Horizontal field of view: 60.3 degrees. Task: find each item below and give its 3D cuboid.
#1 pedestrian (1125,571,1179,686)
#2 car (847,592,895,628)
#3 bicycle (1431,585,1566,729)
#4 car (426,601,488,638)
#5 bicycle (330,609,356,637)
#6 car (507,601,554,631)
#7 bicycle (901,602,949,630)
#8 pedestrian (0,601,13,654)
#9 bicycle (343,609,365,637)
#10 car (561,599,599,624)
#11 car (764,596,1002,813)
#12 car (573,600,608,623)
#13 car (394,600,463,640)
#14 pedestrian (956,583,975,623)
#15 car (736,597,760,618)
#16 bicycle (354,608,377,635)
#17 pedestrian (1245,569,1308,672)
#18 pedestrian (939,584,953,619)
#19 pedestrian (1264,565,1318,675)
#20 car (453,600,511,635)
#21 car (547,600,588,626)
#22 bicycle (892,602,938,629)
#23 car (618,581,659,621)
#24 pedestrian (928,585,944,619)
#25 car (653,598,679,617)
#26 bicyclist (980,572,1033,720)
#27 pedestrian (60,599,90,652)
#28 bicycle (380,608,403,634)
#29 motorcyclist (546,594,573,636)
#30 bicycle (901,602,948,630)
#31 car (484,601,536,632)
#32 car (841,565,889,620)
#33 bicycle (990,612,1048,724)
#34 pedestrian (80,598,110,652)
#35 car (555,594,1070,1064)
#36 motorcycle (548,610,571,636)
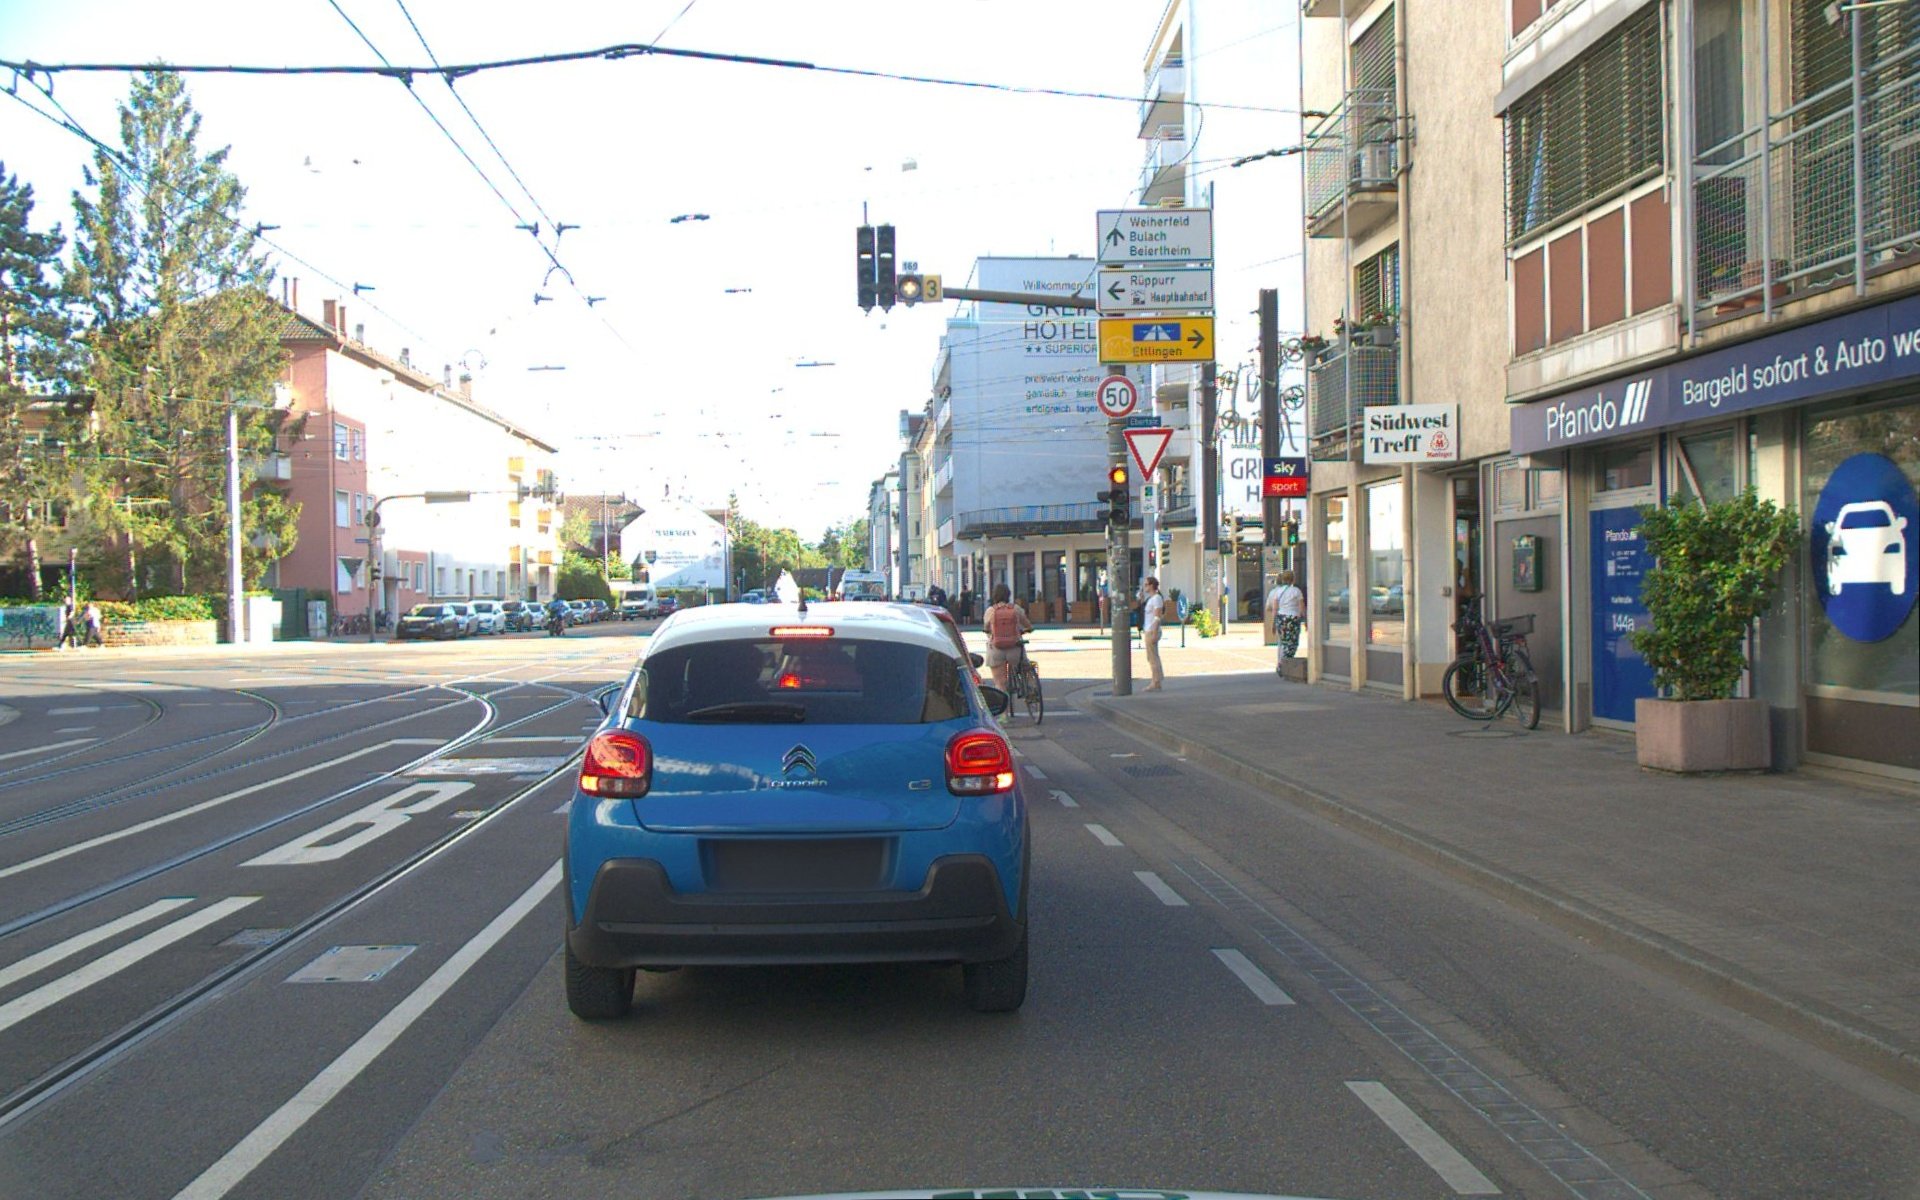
[{"bbox_3d":[2.827,0.410,24.409,0.735,1.663,0.740,-1,0,5],"label":"pedestrian"},{"bbox_3d":[-3.676,0.373,67.741,1.752,1.383,3.909,-1,0,-6],"label":"car"},{"bbox_3d":[5.115,0.503,15.821,0.627,1.286,1.910,-1,0,-1],"label":"bicycle"},{"bbox_3d":[-22.553,0.872,74.257,1.913,1.545,4.040,-1,0,-6],"label":"car"},{"bbox_3d":[-24.982,0.917,66.992,0.628,1.101,1.905,-1,0,-11],"label":"bicycle"},{"bbox_3d":[-23.764,0.848,91.568,1.913,1.545,3.995,-1,0,-6],"label":"car"},{"bbox_3d":[-1.393,0.629,65.781,1.868,1.083,0.641,-1,0,-8],"label":"bicycle"},{"bbox_3d":[-31.946,0.924,54.825,0.795,1.732,0.677,-1,0,-17],"label":"pedestrian"},{"bbox_3d":[-24.588,0.927,67.117,0.527,1.101,1.905,-1,0,-11],"label":"bicycle"},{"bbox_3d":[-24.851,0.738,108.264,1.913,1.545,3.995,-1,0,-6],"label":"car"},{"bbox_3d":[-0.677,0.728,13.560,1.647,1.488,3.997,1,0,-4],"label":"car"},{"bbox_3d":[-25.567,0.776,114.594,1.913,1.545,3.995,-1,0,-6],"label":"car"},{"bbox_3d":[-22.014,0.788,68.652,1.913,1.545,3.995,-1,0,-6],"label":"car"},{"bbox_3d":[0.229,0.134,70.131,0.551,1.676,0.529,-1,0,-45],"label":"pedestrian"},{"bbox_3d":[-21.814,0.780,170.493,2.293,2.074,5.044,-1,0,-6],"label":"car"},{"bbox_3d":[-25.874,0.925,71.988,0.527,1.101,1.908,-1,0,-7],"label":"bicycle"},{"bbox_3d":[5.260,0.327,27.508,0.694,1.676,0.730,-1,0,-36],"label":"pedestrian"},{"bbox_3d":[-0.585,0.072,69.994,0.459,1.445,0.525,-1,0,-13],"label":"pedestrian"},{"bbox_3d":[5.173,0.306,25.826,0.722,1.676,0.754,-1,0,18],"label":"pedestrian"},{"bbox_3d":[-22.756,0.815,78.862,1.913,1.545,3.995,-1,0,-6],"label":"car"},{"bbox_3d":[-24.409,0.797,102.990,1.913,1.545,3.995,-1,0,-6],"label":"car"},{"bbox_3d":[-1.860,0.631,68.272,1.868,1.083,0.641,-1,0,-8],"label":"bicycle"},{"bbox_3d":[-23.225,0.053,119.578,2.446,2.759,5.828,-1,0,-7],"label":"car"},{"bbox_3d":[-1.010,0.077,70.239,0.514,1.445,0.547,-1,0,19],"label":"pedestrian"},{"bbox_3d":[-25.576,0.624,144.166,1.913,1.545,3.995,-1,0,-6],"label":"car"},{"bbox_3d":[0.569,0.551,20.597,0.588,1.776,1.084,-1,0,-1],"label":"bicyclist"},{"bbox_3d":[-29.482,0.836,55.106,0.798,1.732,0.629,-1,0,-25],"label":"pedestrian"},{"bbox_3d":[-25.672,0.938,74.693,0.597,1.101,1.908,-1,0,-7],"label":"bicycle"},{"bbox_3d":[-16.205,0.602,66.953,0.973,1.659,0.737,-1,0,-10],"label":"motorcyclist"},{"bbox_3d":[-1.446,0.653,67.086,1.868,1.083,0.641,-1,0,-8],"label":"bicycle"},{"bbox_3d":[-23.234,0.833,85.519,1.913,1.545,3.995,-1,0,-6],"label":"car"},{"bbox_3d":[-4.231,-0.330,73.179,2.039,2.309,5.646,0,0,-4],"label":"car"},{"bbox_3d":[0.723,0.813,20.638,0.601,1.286,1.910,-1,0,-1],"label":"bicycle"},{"bbox_3d":[-28.521,0.816,54.556,0.798,1.732,0.602,-1,0,-25],"label":"pedestrian"},{"bbox_3d":[-0.610,0.734,7.352,1.647,1.488,3.997,1,0,-4],"label":"car"},{"bbox_3d":[-16.225,0.934,67.022,0.738,0.993,2.092,-1,0,-9],"label":"motorcycle"}]
